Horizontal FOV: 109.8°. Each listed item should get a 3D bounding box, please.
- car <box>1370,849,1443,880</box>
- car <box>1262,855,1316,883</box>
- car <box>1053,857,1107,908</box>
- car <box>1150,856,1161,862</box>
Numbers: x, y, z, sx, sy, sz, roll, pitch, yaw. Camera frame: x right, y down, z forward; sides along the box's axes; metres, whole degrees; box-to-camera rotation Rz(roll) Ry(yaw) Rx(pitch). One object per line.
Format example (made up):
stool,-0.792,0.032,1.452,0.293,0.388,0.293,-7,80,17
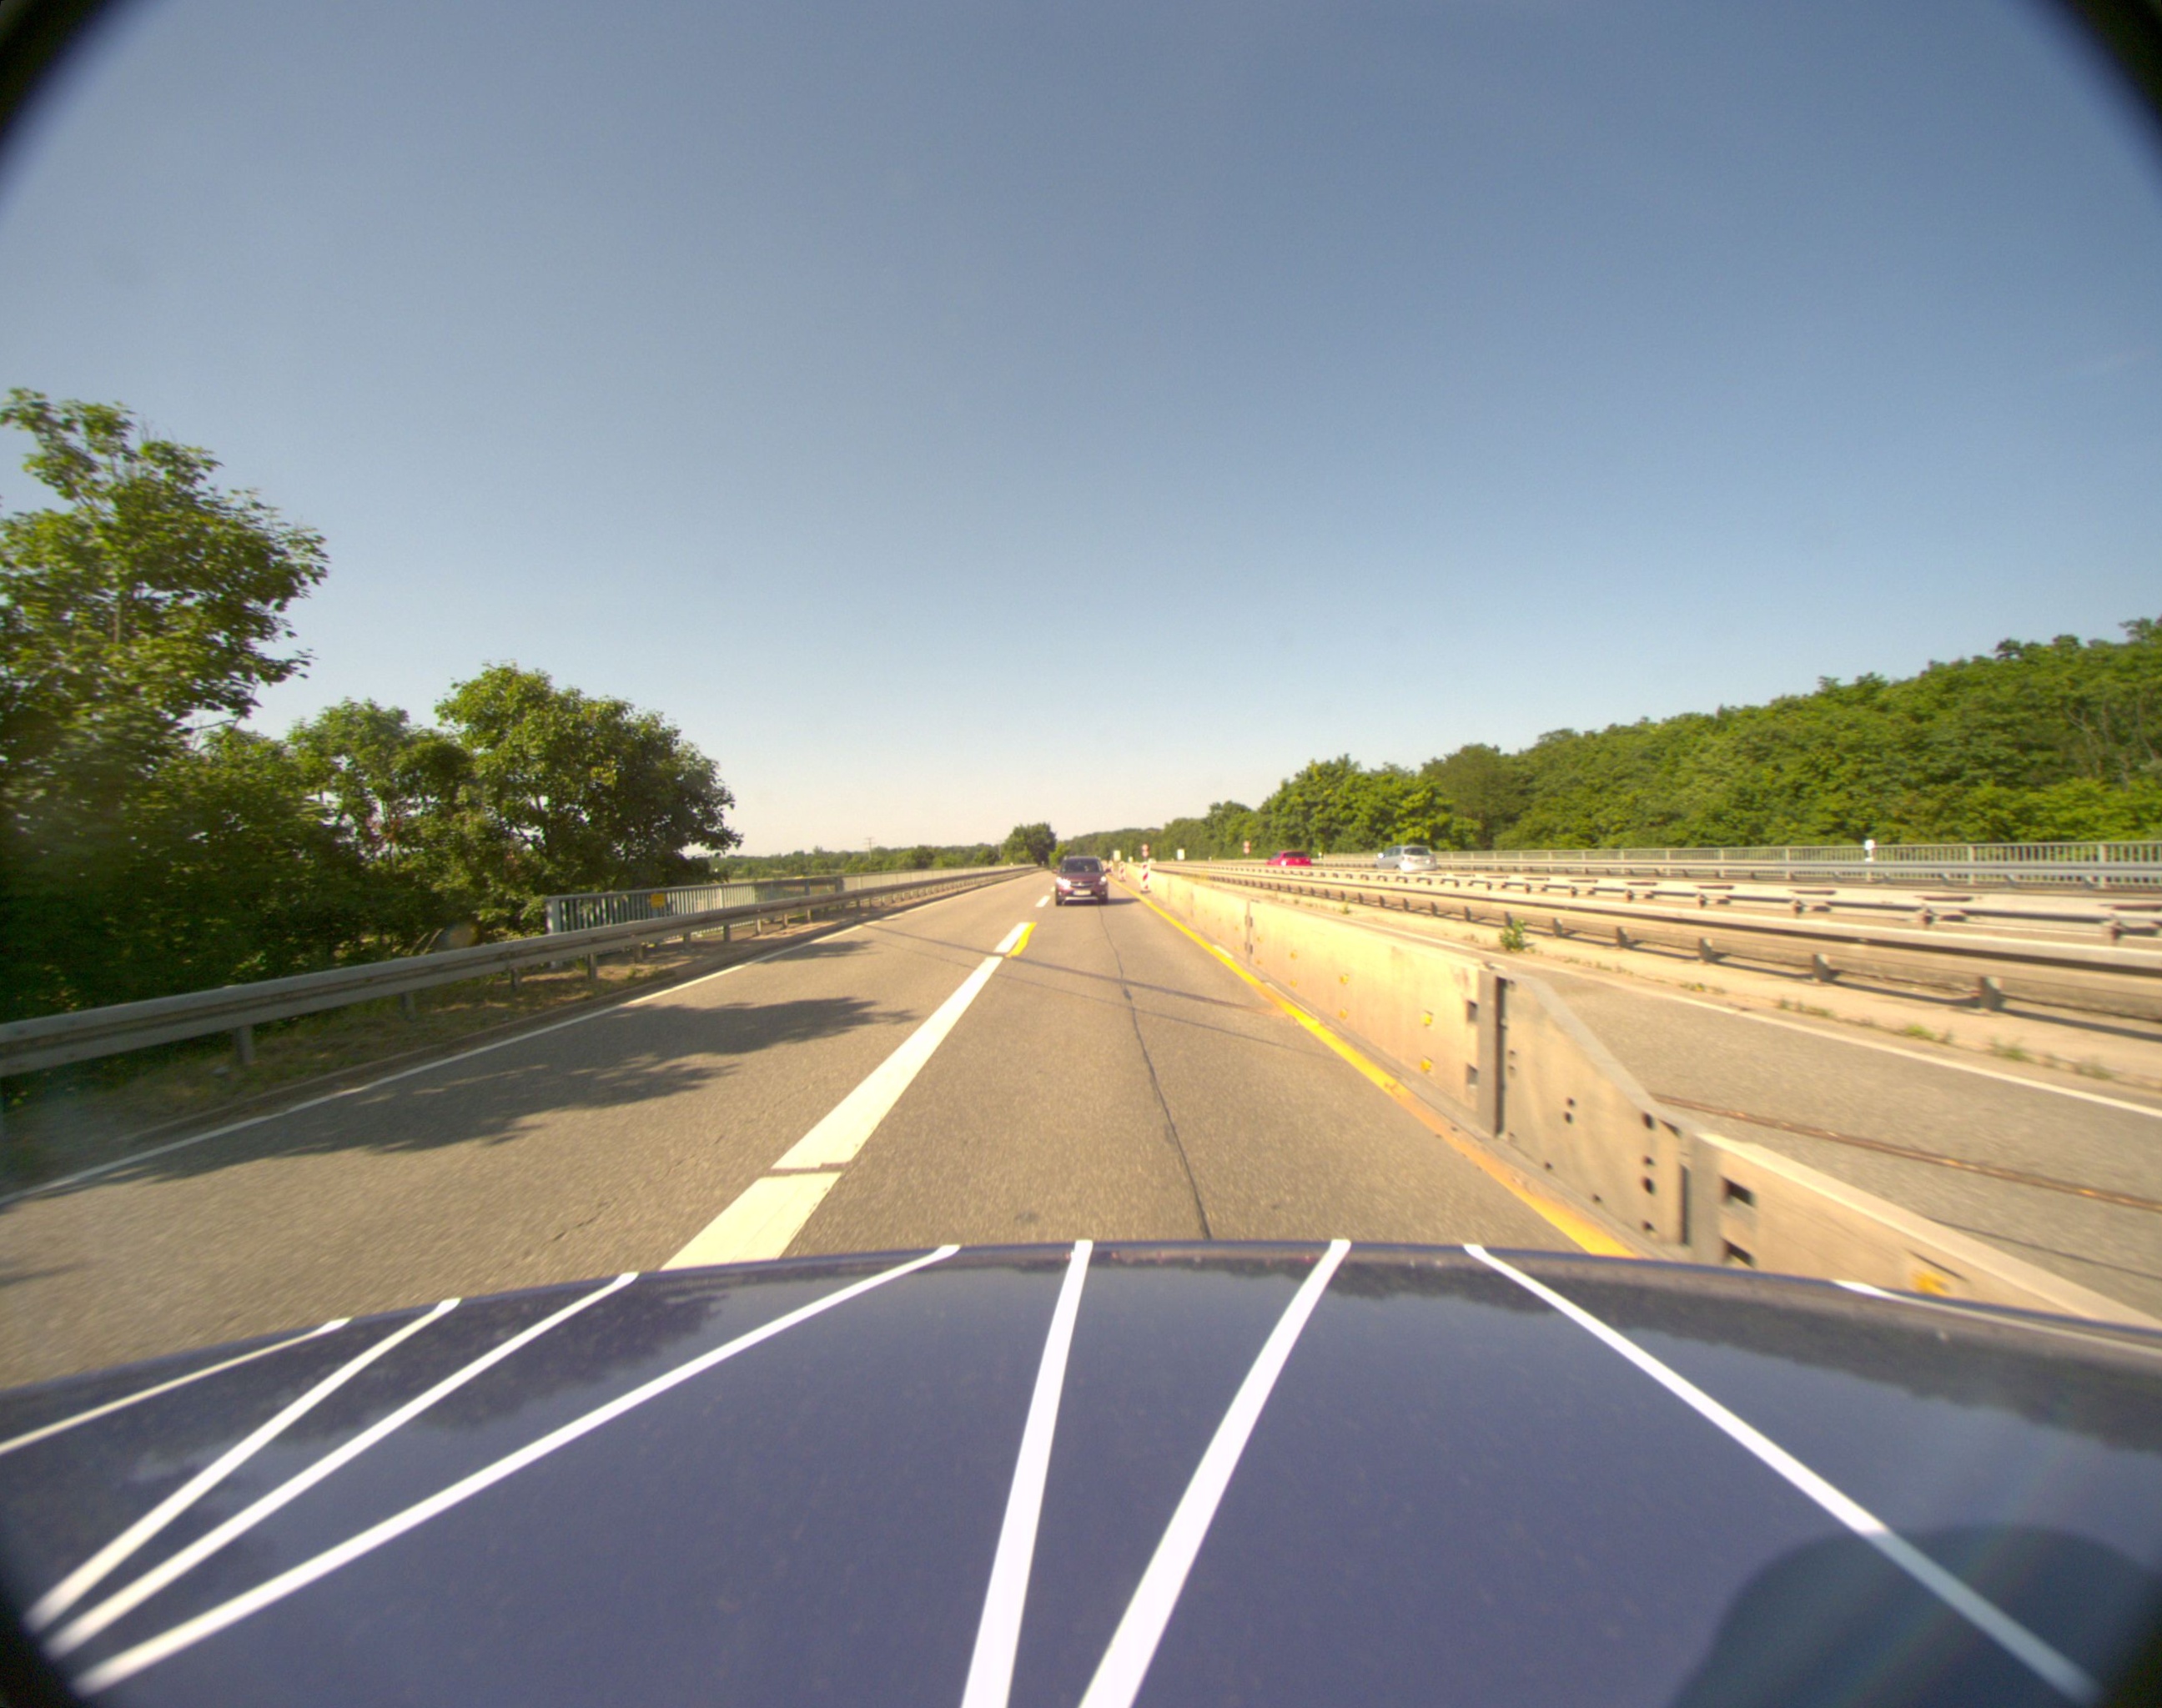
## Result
car,15.641,0.465,36.736,1.782,1.385,4.125,0,0,0
car,11.176,0.793,41.125,1.718,1.388,4.221,-2,0,0
car,0.050,0.886,24.674,1.587,1.491,4.417,0,-1,2
car,16.091,1.067,163.921,1.744,1.331,4.552,-4,0,0
